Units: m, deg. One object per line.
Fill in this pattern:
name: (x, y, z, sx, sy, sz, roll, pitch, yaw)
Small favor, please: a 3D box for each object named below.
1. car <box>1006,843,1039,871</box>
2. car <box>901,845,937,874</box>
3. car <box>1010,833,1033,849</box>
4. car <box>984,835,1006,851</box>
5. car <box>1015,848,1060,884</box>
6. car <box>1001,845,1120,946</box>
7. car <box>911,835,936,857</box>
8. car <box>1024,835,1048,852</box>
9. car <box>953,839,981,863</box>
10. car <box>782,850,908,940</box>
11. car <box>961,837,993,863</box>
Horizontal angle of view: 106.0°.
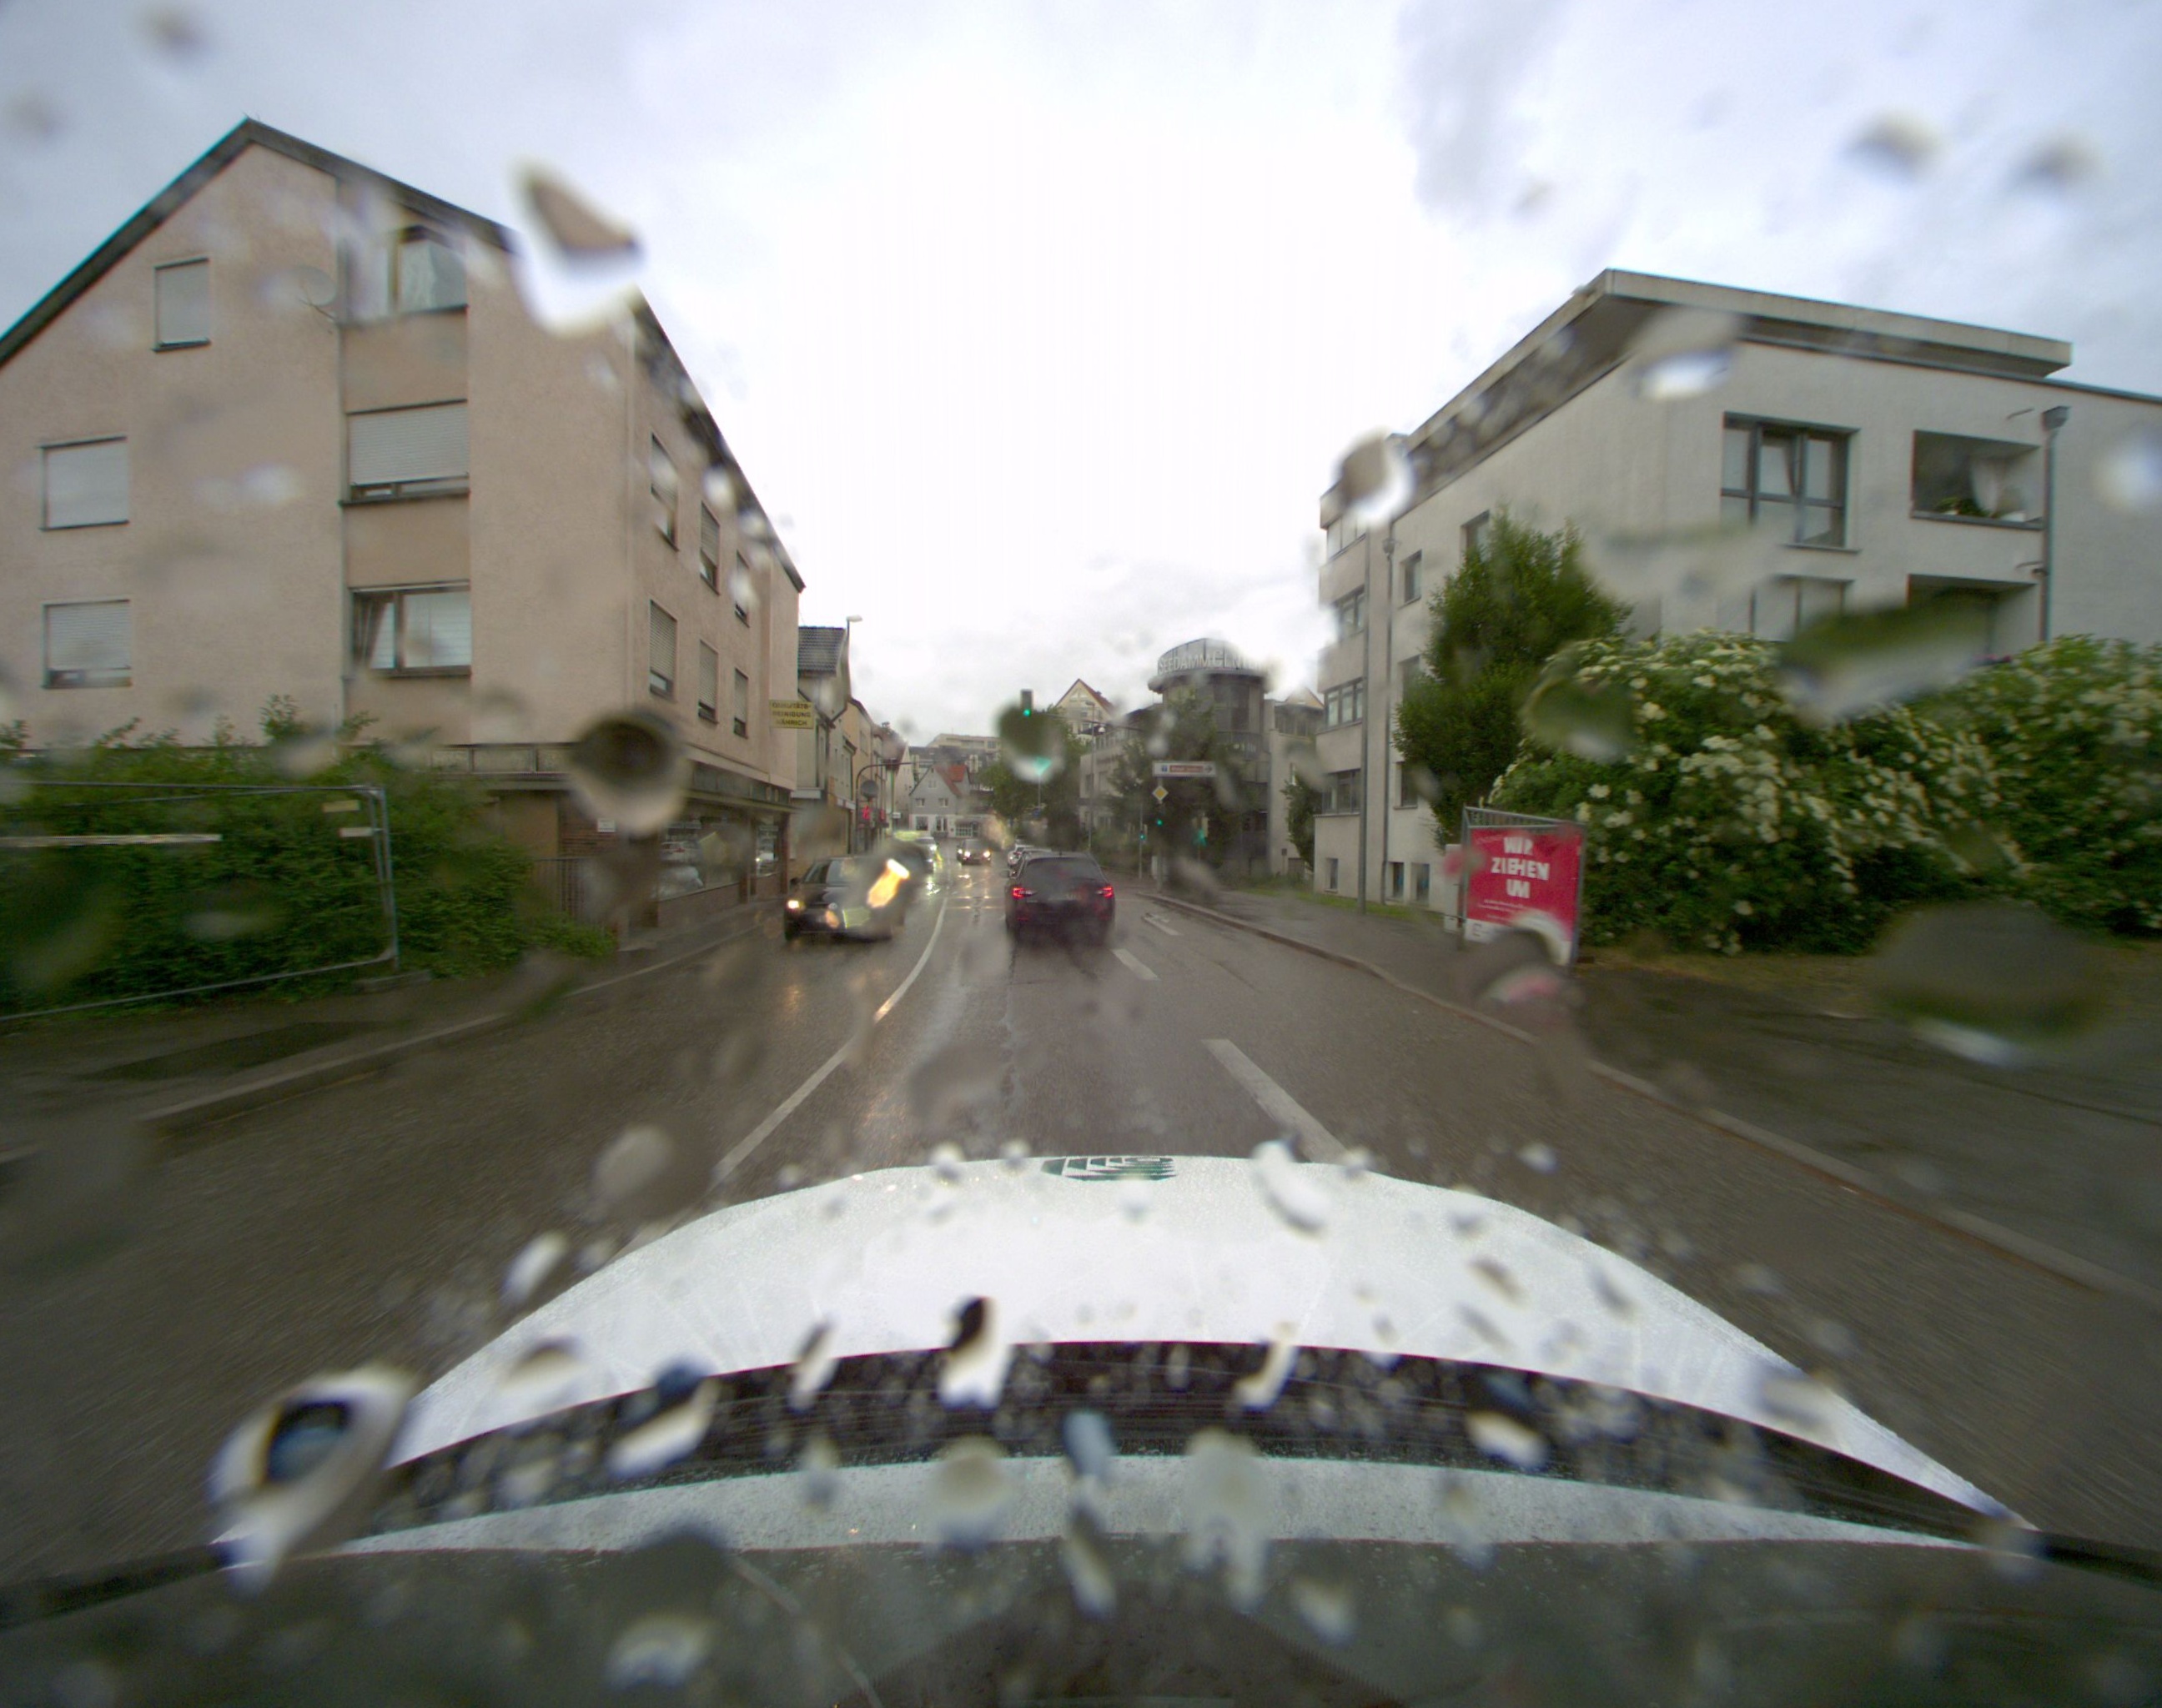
car: (-3.574, 0.232, 49.384, 1.726, 1.591, 4.172, 2, -2, -8)
car: (-8.601, 0.278, 43.531, 1.690, 1.372, 4.101, -1, 2, -9)
car: (-6.223, -1.378, 84.531, 1.853, 1.641, 3.856, -1, 2, -12)
car: (-8.751, -1.108, 82.757, 1.893, 1.590, 3.675, 0, 1, -11)
car: (-1.920, 0.479, 35.238, 1.814, 1.359, 3.984, 1, 1, -4)
car: (-0.515, 0.612, 14.686, 1.780, 1.483, 4.237, -2, 1, -6)
car: (-11.889, -0.670, 61.528, 1.785, 1.560, 4.322, 0, 2, -10)
car: (-4.373, -1.036, 78.767, 1.853, 1.641, 3.524, -1, 2, -12)
car: (-8.226, -0.254, 58.481, 1.784, 1.562, 4.387, 1, 1, -10)
car: (-4.170, 0.651, 14.943, 1.770, 1.402, 3.905, -1, 0, -10)
car: (-6.825, -0.278, 53.076, 1.784, 1.562, 4.387, 1, 1, -10)
